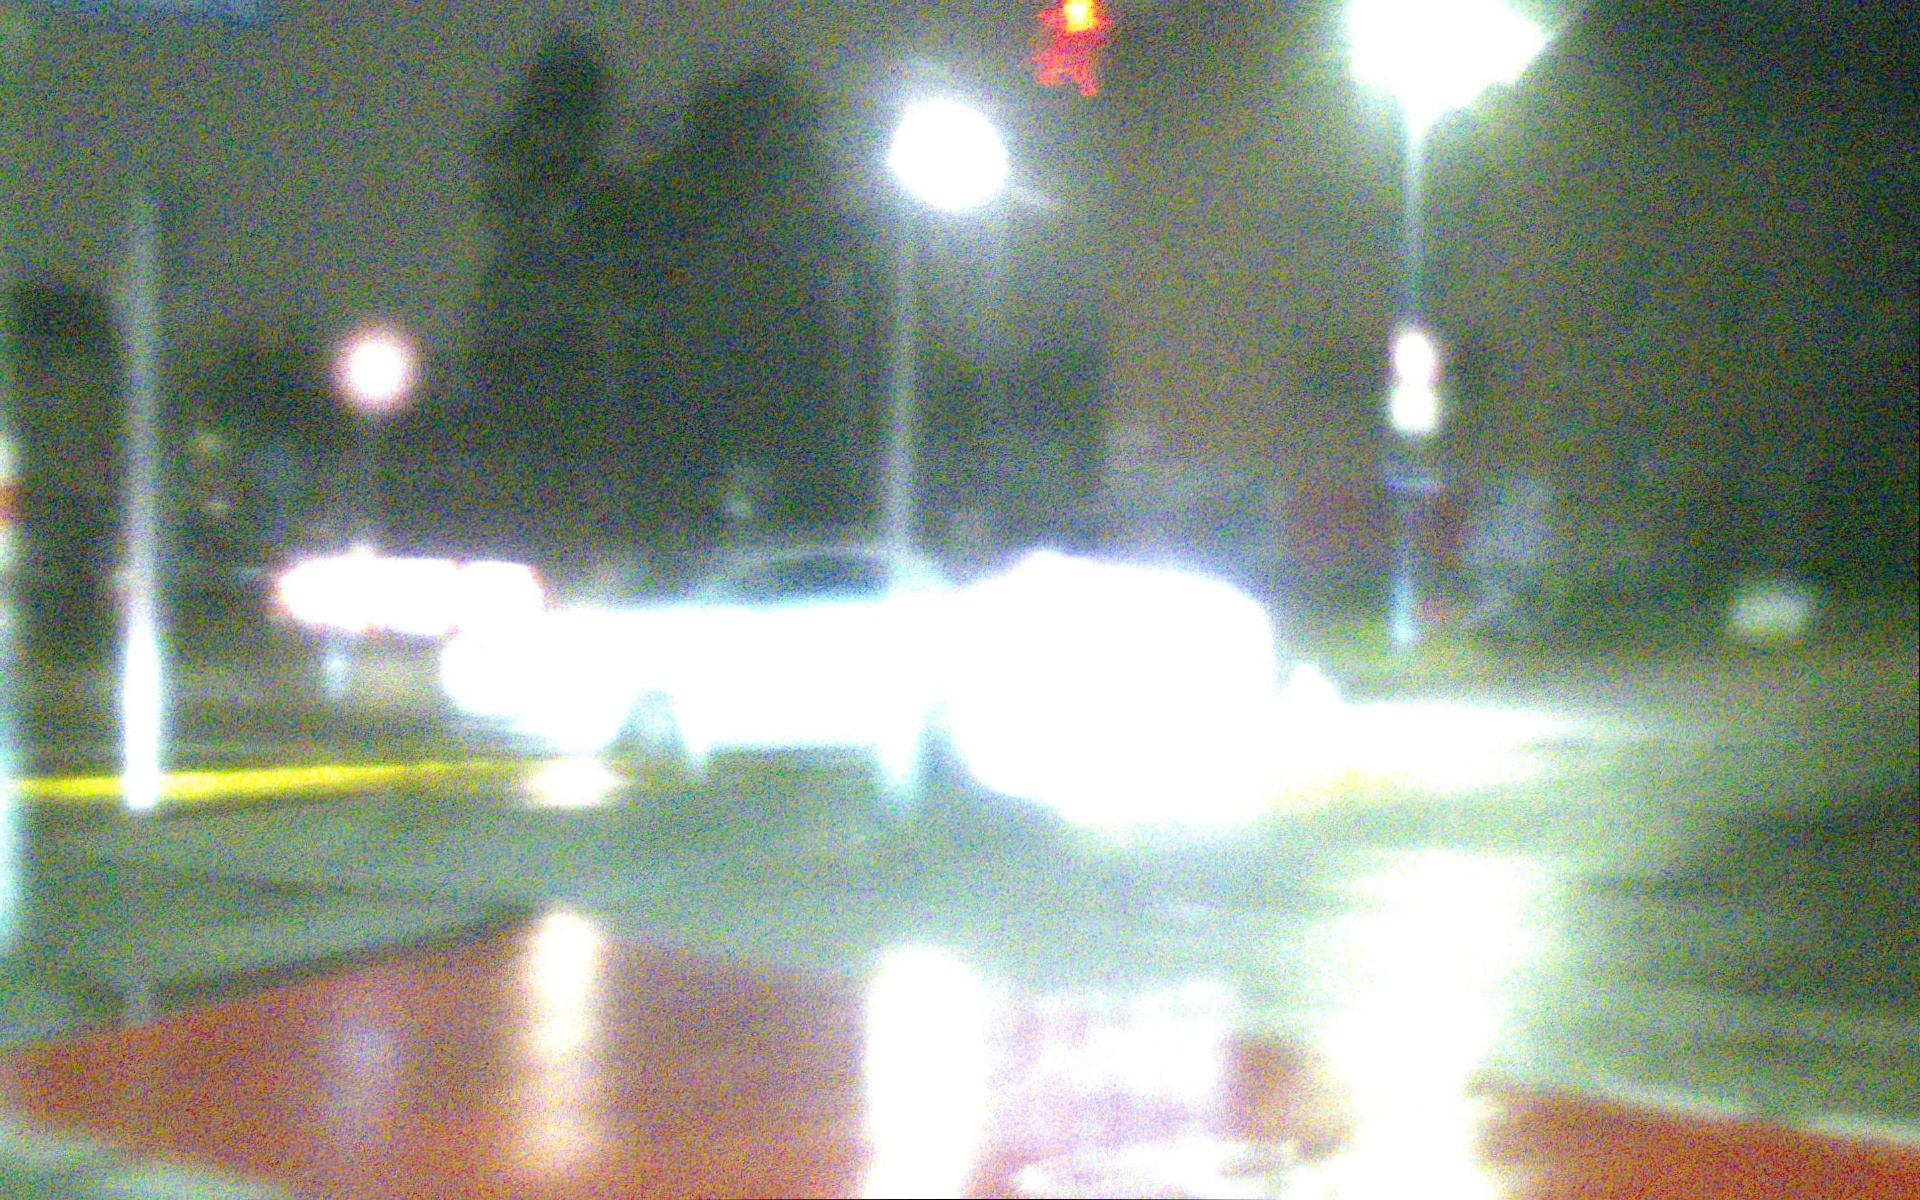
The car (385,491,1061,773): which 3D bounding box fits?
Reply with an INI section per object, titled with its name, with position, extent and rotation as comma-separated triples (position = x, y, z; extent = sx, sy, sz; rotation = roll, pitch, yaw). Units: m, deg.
[car]
position = -1.591, 0.197, 23.969
extent = 4.381, 1.752, 1.877
rotation = 0, 2, -40
